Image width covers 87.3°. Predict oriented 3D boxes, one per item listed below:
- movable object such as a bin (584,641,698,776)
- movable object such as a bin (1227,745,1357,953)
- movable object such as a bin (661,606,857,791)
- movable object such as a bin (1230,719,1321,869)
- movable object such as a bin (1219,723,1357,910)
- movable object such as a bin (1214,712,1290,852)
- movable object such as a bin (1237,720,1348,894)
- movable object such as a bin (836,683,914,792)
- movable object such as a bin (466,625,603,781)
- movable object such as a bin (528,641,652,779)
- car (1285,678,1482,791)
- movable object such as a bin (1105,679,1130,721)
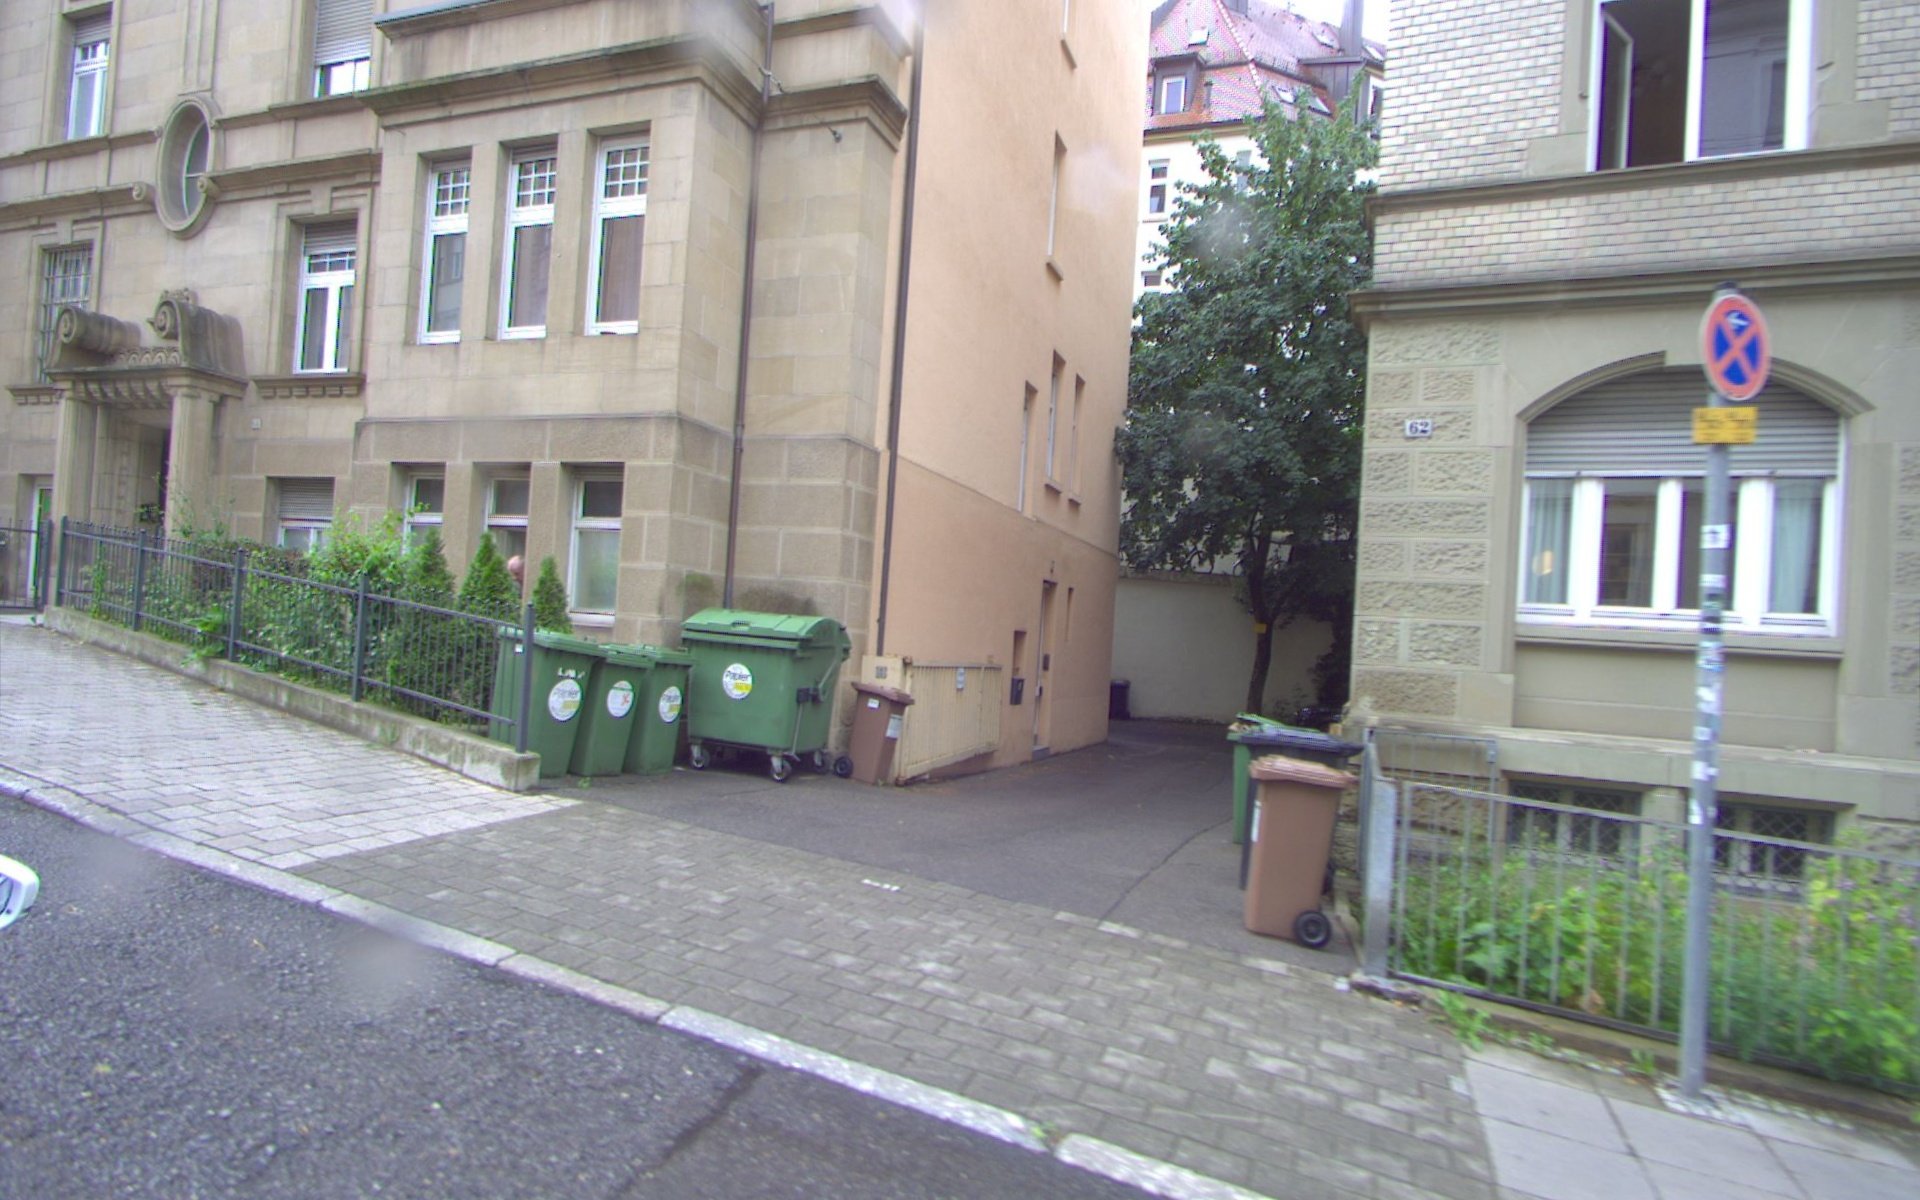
[{"bbox_3d":[-2.699,0.920,8.542,0.593,1.036,0.540,6,-4,20],"label":"movable object such as a bin"},{"bbox_3d":[1.773,1.305,5.380,0.527,0.932,0.427,7,2,20],"label":"movable object such as a bin"},{"bbox_3d":[-1.793,0.886,9.115,1.256,1.446,0.976,6,-4,20],"label":"movable object such as a bin"},{"bbox_3d":[2.529,1.529,8.042,0.545,1.072,0.498,6,-4,23],"label":"movable object such as a bin"},{"bbox_3d":[2.121,1.365,6.485,0.653,1.041,0.529,6,-4,30],"label":"movable object such as a bin"},{"bbox_3d":[2.553,1.569,8.776,0.469,1.113,0.521,6,-4,23],"label":"movable object such as a bin"},{"bbox_3d":[2.344,1.427,7.070,0.598,1.072,0.501,6,-4,23],"label":"movable object such as a bin"},{"bbox_3d":[-0.807,1.306,9.611,0.510,0.952,0.395,6,-4,20],"label":"movable object such as a bin"},{"bbox_3d":[-3.114,0.756,7.391,0.593,1.036,0.540,6,-4,20],"label":"movable object such as a bin"},{"bbox_3d":[-2.909,0.864,7.933,0.593,0.978,0.540,6,-4,20],"label":"movable object such as a bin"},{"bbox_3d":[9.926,3.070,23.623,3.930,1.530,1.796,13,5,28],"label":"car"},{"bbox_3d":[4.318,2.728,27.636,0.532,1.053,0.563,4,4,20],"label":"movable object such as a bin"}]
